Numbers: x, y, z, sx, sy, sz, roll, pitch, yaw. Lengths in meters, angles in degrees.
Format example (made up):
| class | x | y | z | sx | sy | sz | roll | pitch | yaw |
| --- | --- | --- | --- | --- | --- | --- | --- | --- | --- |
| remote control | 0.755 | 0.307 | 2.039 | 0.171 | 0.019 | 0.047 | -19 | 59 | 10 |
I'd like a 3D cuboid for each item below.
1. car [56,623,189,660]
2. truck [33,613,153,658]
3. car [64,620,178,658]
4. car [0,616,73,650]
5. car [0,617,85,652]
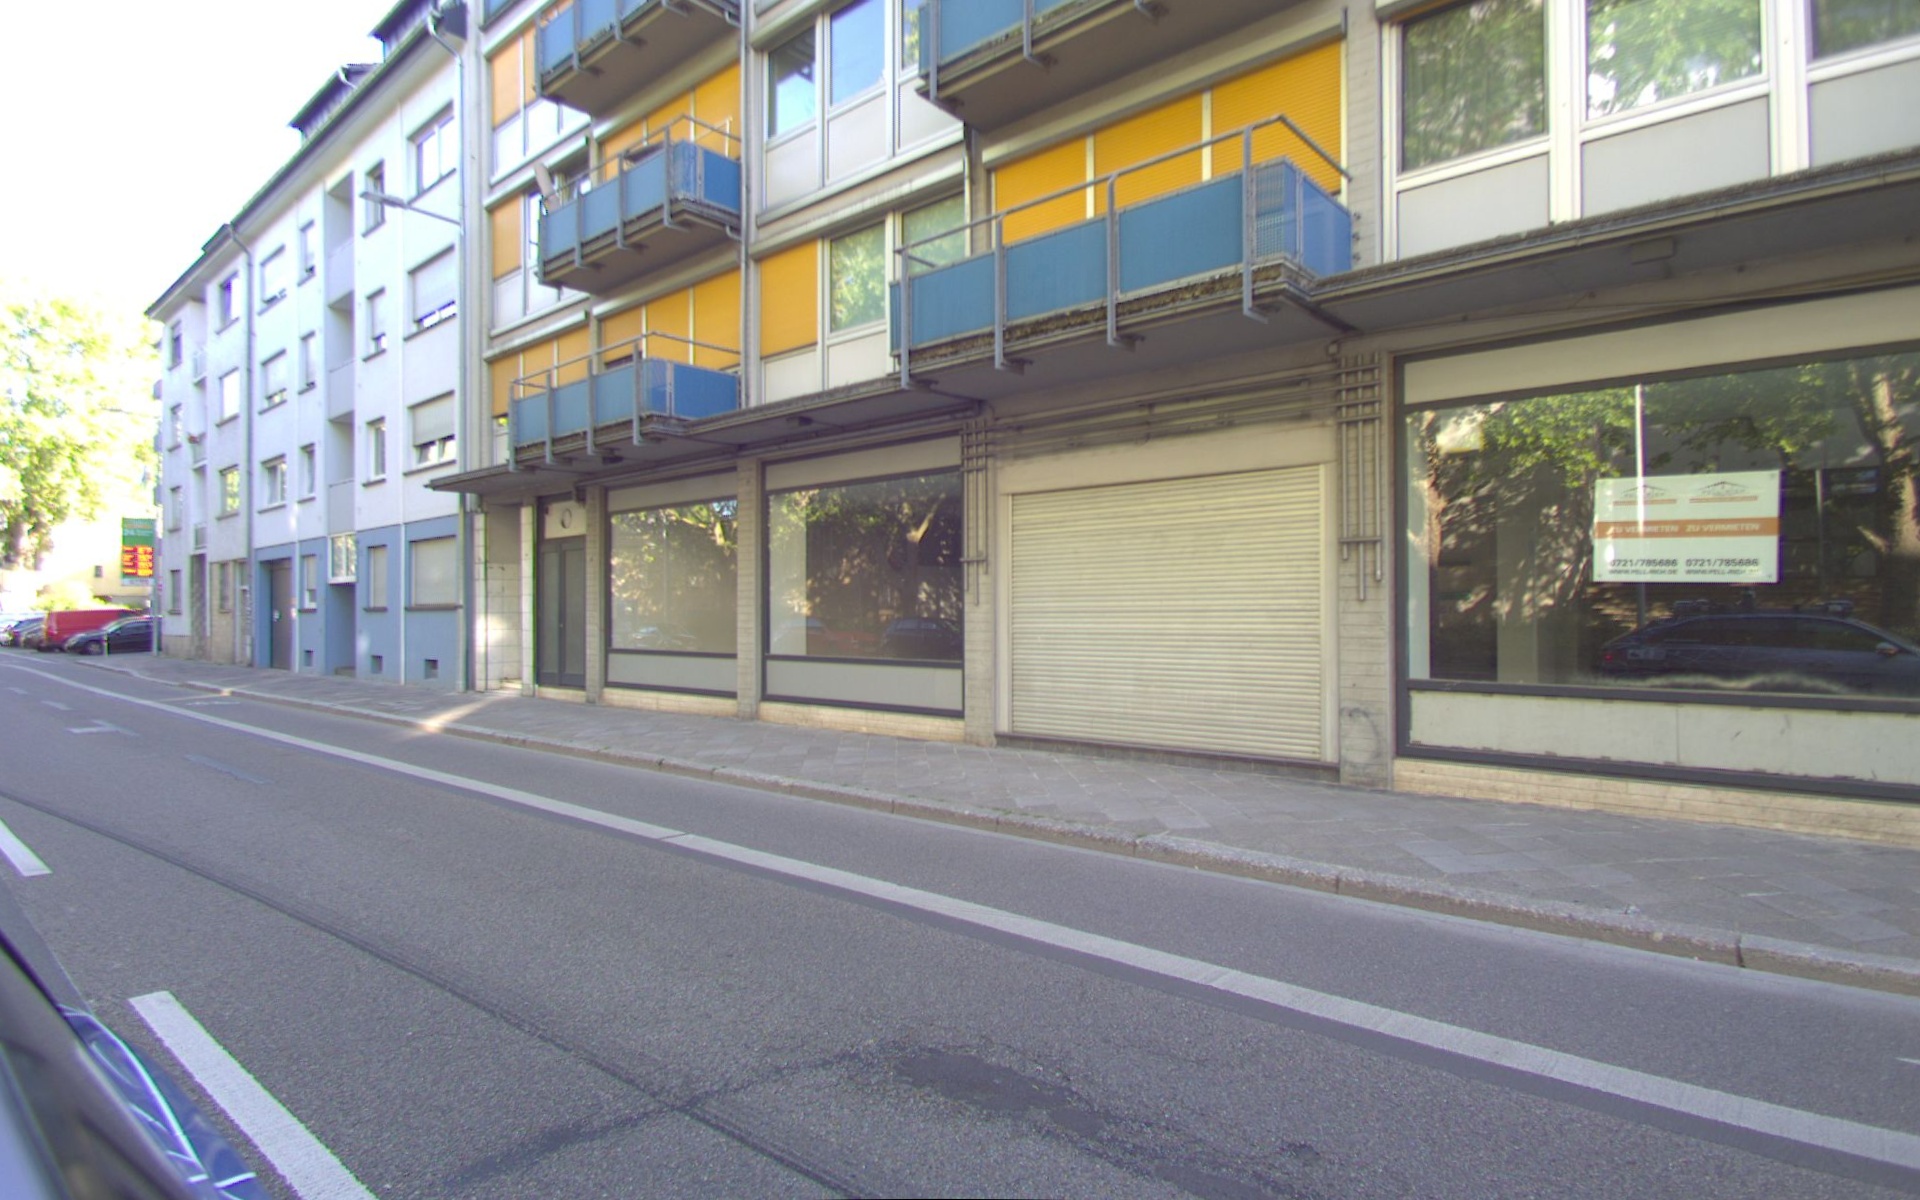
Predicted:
| class | x | y | z | sx | sy | sz | roll | pitch | yaw |
| --- | --- | --- | --- | --- | --- | --- | --- | --- | --- |
| car | -36.483 | 1.789 | 44.157 | 1.657 | 1.417 | 4.269 | -1 | 0 | 40 |
| truck | -40.710 | 1.643 | 47.573 | 1.999 | 1.939 | 4.040 | -1 | 0 | 40 |
| car | -38.033 | 1.726 | 45.940 | 1.657 | 1.583 | 3.762 | -1 | 0 | 41 |
| car | -59.330 | 2.089 | 64.400 | 2.000 | 2.052 | 4.180 | -1 | 0 | 43 |
| car | -56.046 | 2.061 | 61.471 | 2.000 | 1.971 | 4.180 | -1 | 0 | 43 |
